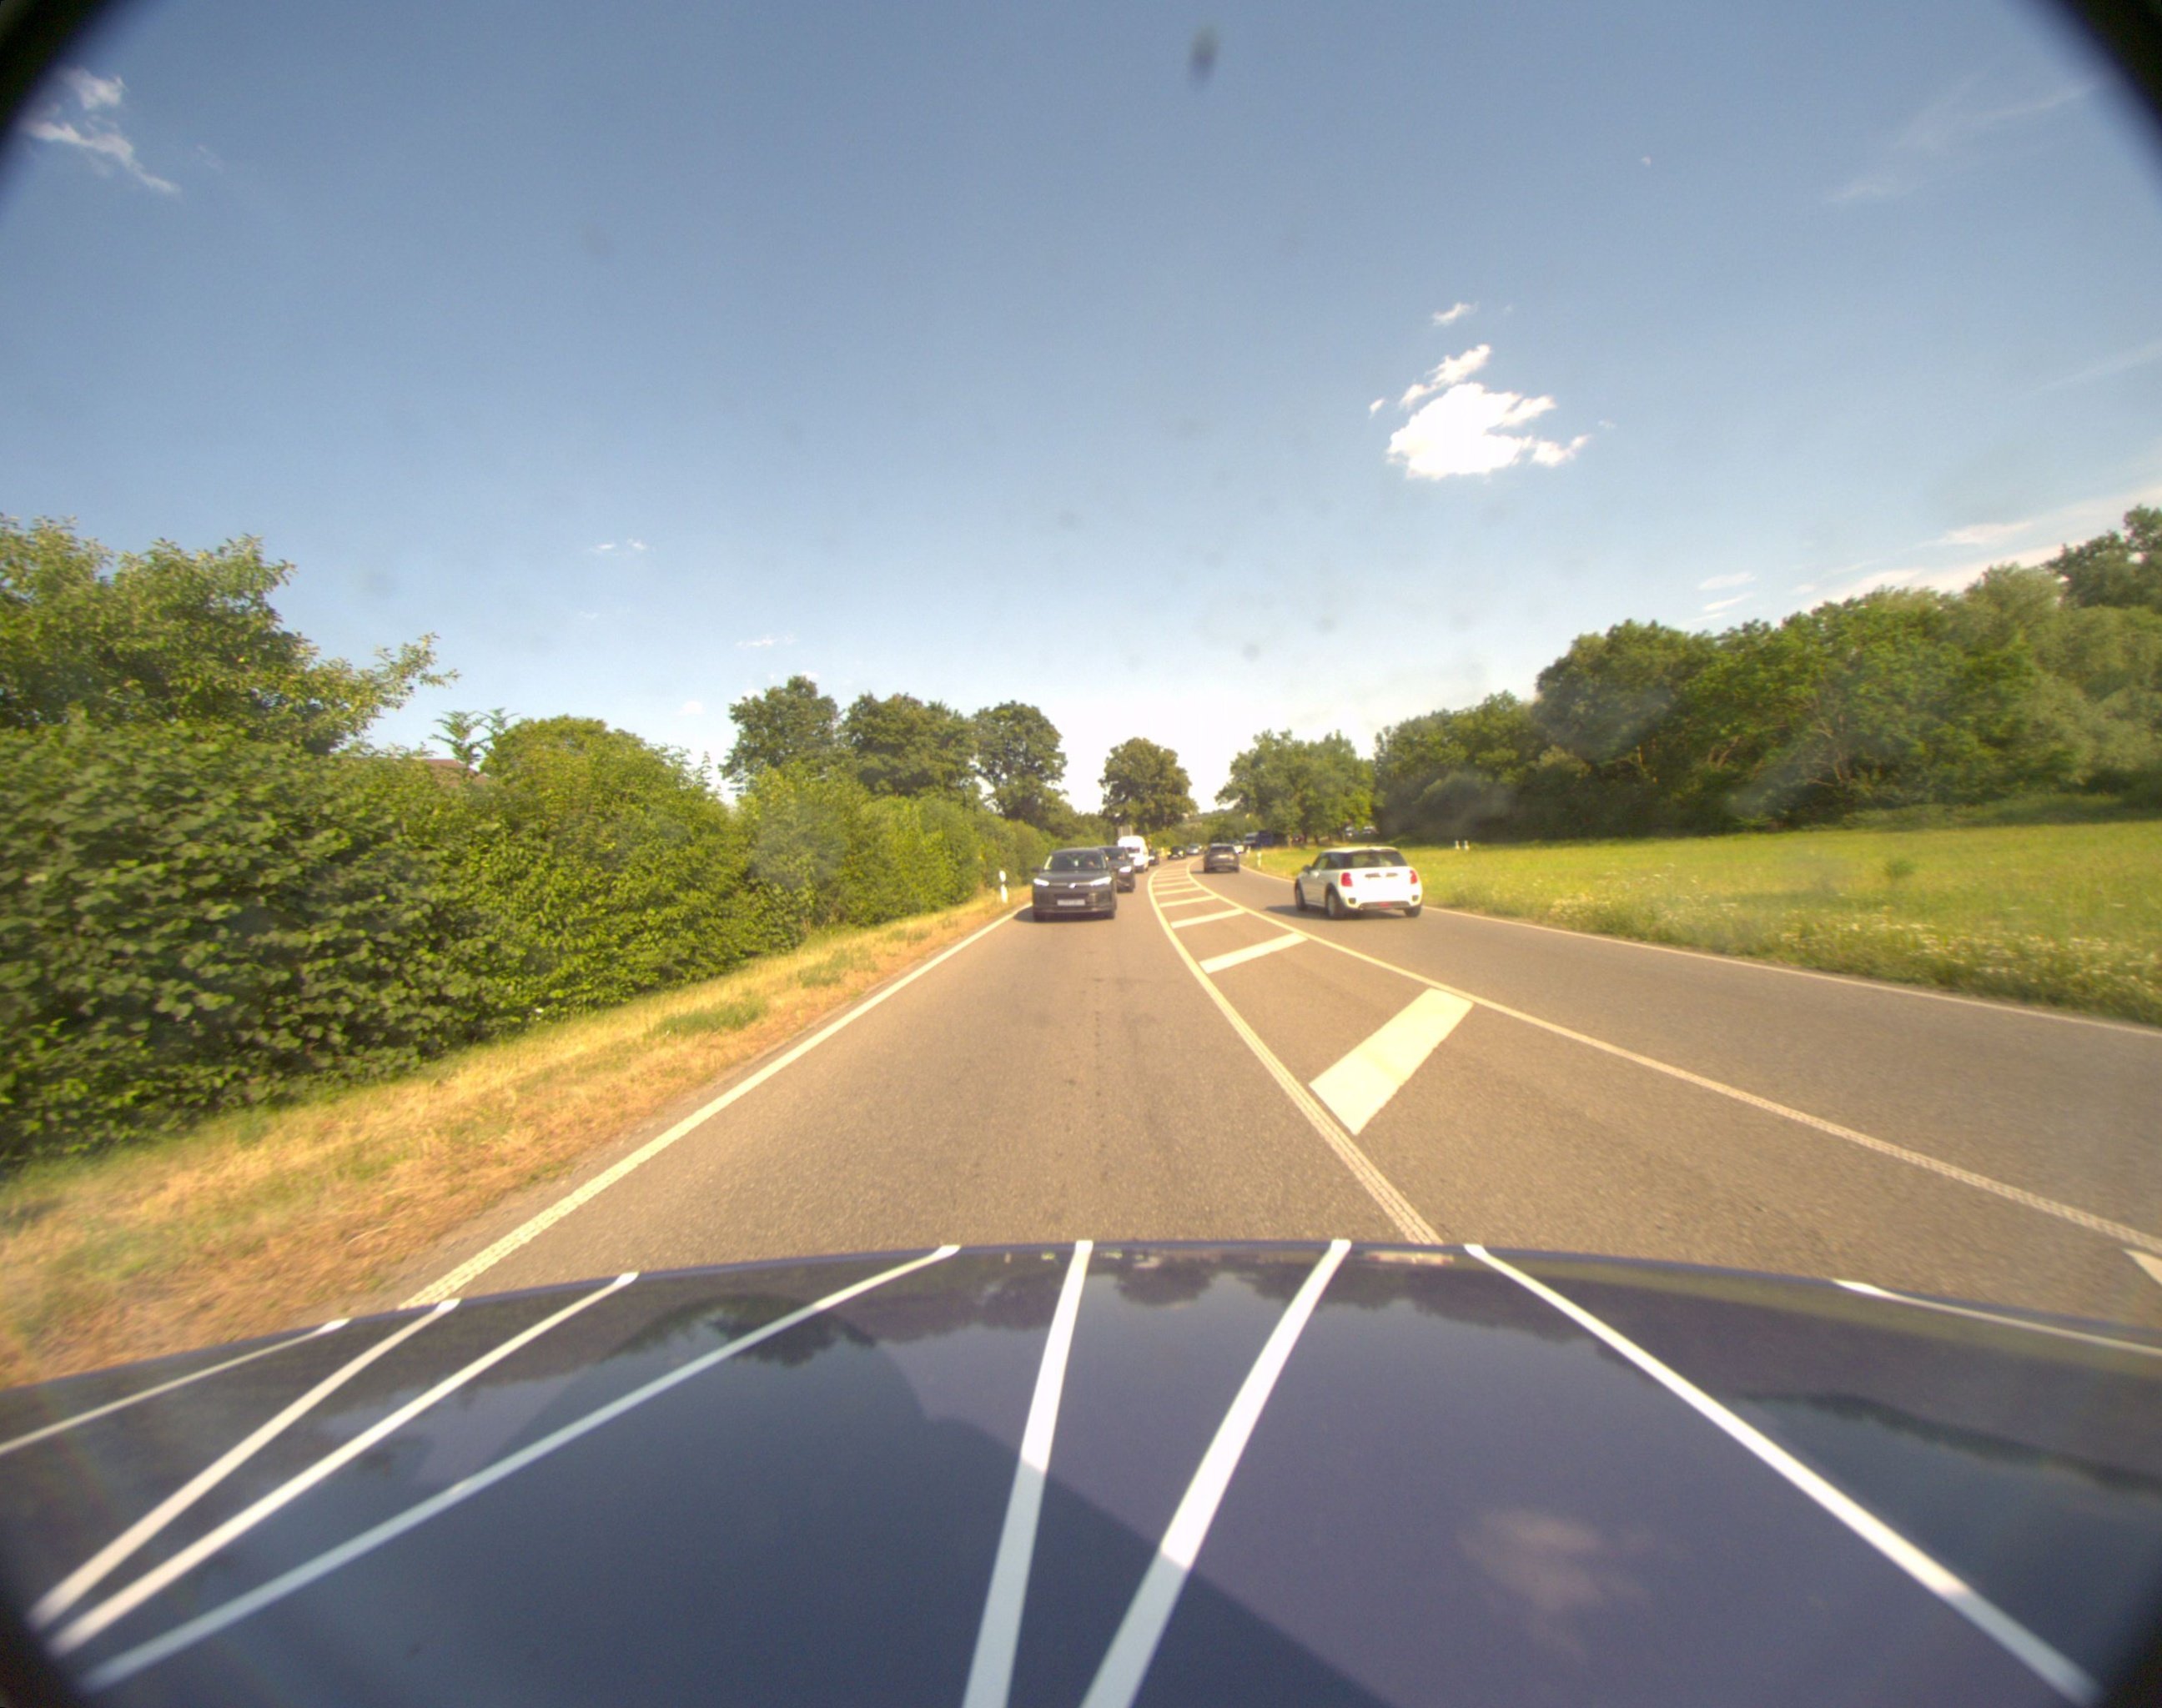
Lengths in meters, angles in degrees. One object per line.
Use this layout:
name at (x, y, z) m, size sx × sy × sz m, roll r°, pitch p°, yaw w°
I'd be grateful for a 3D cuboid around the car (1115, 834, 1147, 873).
car at (3.280, -0.070, 49.115) m, size 1.843 × 2.338 × 4.791 m, roll -2°, pitch 1°, yaw 6°

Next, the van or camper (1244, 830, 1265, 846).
van or camper at (29.955, -2.820, 131.065) m, size 2.030 × 2.461 × 5.085 m, roll -5°, pitch 0°, yaw 28°

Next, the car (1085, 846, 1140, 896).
car at (1.254, 0.599, 28.491) m, size 1.658 × 1.720 × 3.807 m, roll -2°, pitch 0°, yaw 8°

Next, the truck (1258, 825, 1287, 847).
truck at (31.289, -2.918, 123.920) m, size 2.919 × 3.194 × 6.692 m, roll -5°, pitch 0°, yaw 27°

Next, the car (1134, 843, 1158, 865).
car at (5.458, -0.046, 63.498) m, size 1.692 × 1.718 × 3.670 m, roll -2°, pitch 1°, yaw 9°

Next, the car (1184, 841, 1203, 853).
car at (14.541, -0.922, 98.357) m, size 1.632 × 1.549 × 3.421 m, roll -1°, pitch 2°, yaw 22°

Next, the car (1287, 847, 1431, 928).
car at (5.680, 0.609, 15.962) m, size 1.750 × 1.458 × 3.479 m, roll -2°, pitch 1°, yaw 1°

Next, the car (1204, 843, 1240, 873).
car at (8.035, 0.212, 43.452) m, size 1.930 × 1.577 × 4.076 m, roll -2°, pitch 1°, yaw 10°

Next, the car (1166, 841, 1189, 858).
car at (10.366, -0.511, 81.451) m, size 1.671 × 1.718 × 3.673 m, roll -2°, pitch 1°, yaw 19°

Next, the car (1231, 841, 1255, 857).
car at (21.407, -0.707, 100.147) m, size 1.996 × 1.846 × 4.005 m, roll -5°, pitch 0°, yaw 26°

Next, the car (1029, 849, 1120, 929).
car at (-0.115, 0.723, 18.041) m, size 1.865 × 1.633 × 4.000 m, roll -2°, pitch 1°, yaw 1°
